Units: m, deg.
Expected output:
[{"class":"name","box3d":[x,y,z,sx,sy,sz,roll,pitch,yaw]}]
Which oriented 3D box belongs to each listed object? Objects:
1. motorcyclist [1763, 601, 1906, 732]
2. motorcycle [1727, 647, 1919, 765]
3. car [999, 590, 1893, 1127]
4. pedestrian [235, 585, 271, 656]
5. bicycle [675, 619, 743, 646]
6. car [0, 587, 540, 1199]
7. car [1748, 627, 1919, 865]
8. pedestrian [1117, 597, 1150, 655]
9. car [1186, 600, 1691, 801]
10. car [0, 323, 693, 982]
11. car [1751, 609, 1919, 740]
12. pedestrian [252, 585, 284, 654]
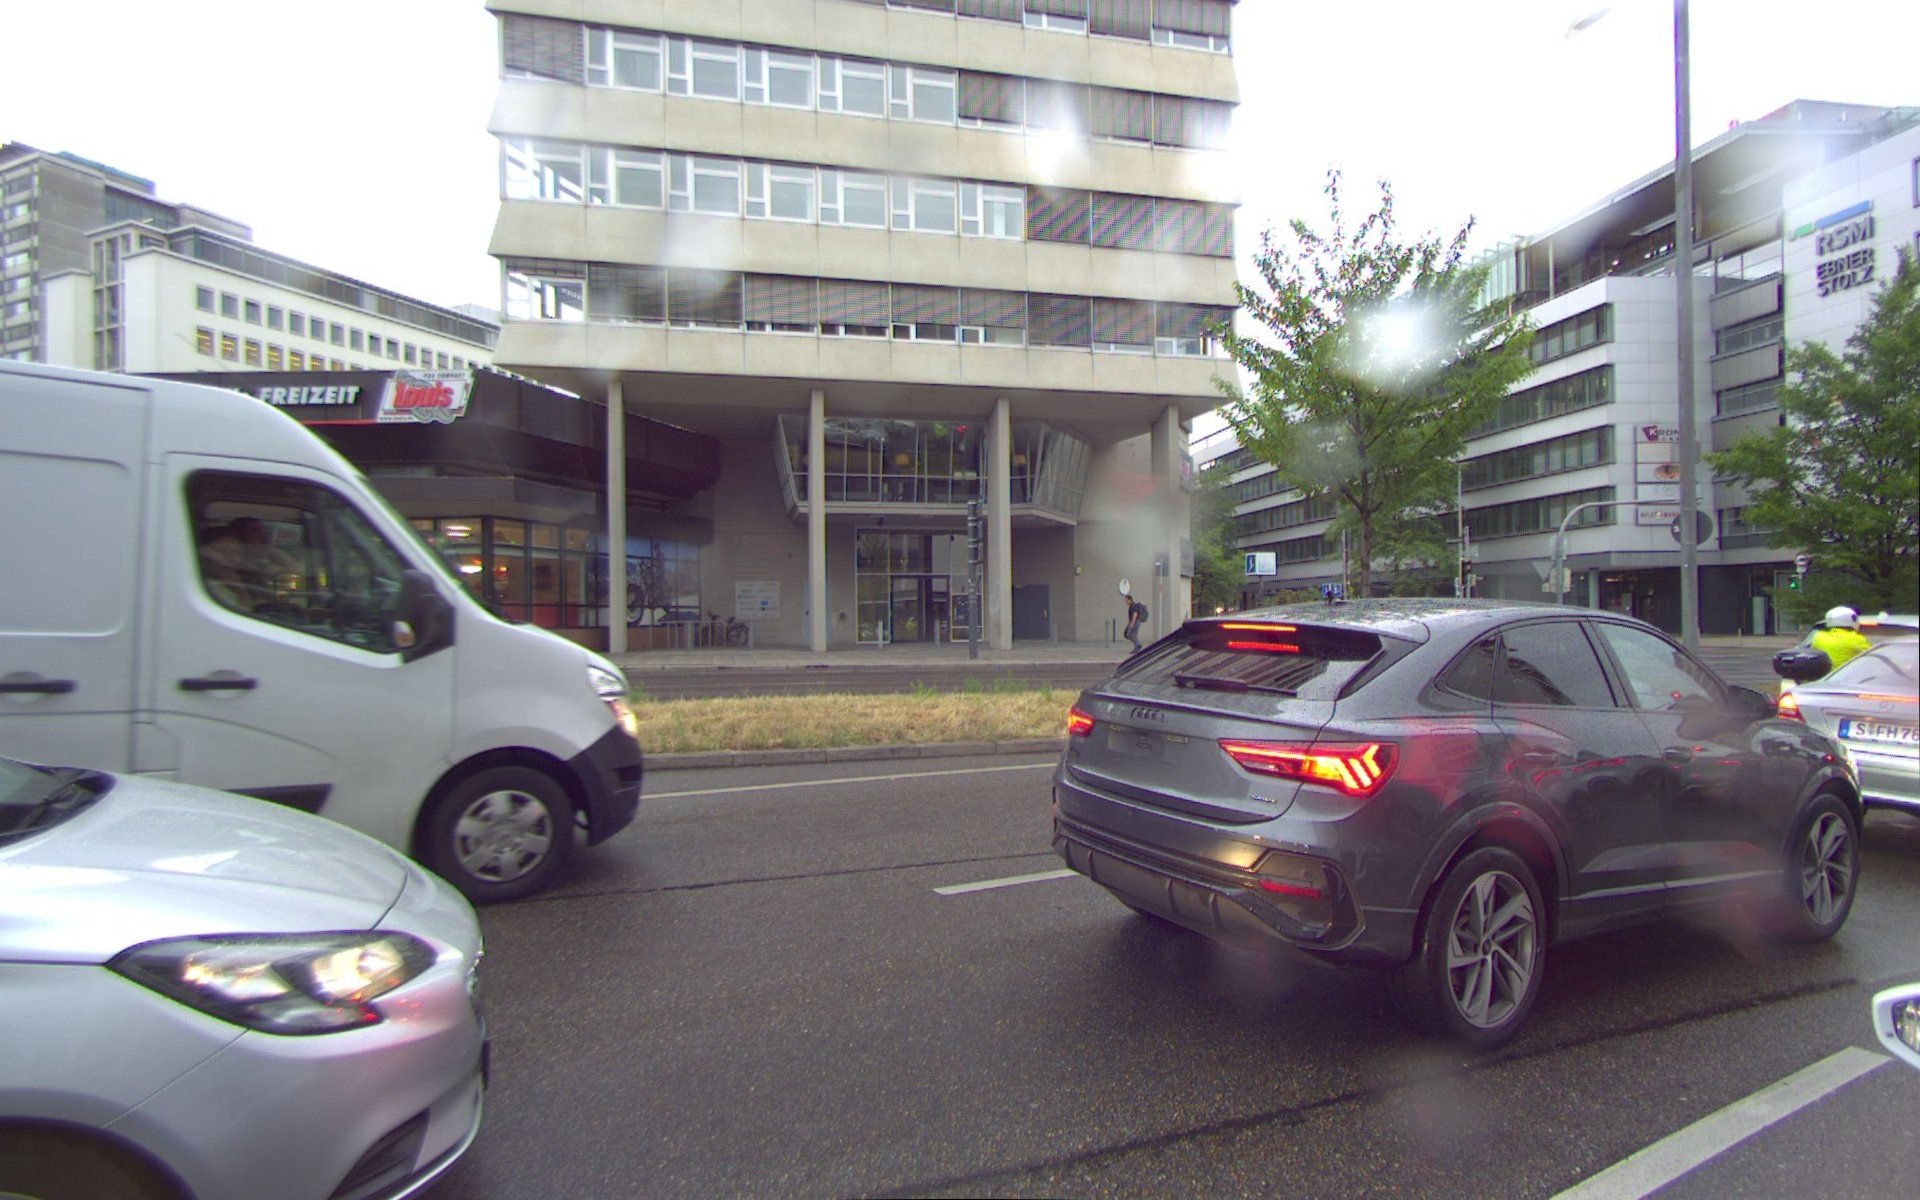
[{"class":"motorcyclist","box3d":[9.868,0.729,11.347,1.102,1.398,0.768,2,0,-21]},{"class":"motorcycle","box3d":[9.733,1.164,11.309,1.998,1.200,0.799,2,0,-21]},{"class":"car","box3d":[2.403,0.767,4.657,4.220,1.542,1.640,1,0,-30]},{"class":"pedestrian","box3d":[-17.594,0.498,24.996,0.488,1.741,0.525,1,0,3]},{"class":"bicycle","box3d":[-8.474,1.106,33.950,2.165,0.871,0.456,2,0,-31]},{"class":"car","box3d":[-2.888,0.687,1.692,3.831,1.455,1.639,1,0,-32]},{"class":"car","box3d":[7.670,0.961,7.095,4.052,1.426,1.567,2,0,-24]},{"class":"pedestrian","box3d":[5.233,0.778,30.246,0.751,1.706,0.677,1,0,-16]},{"class":"car","box3d":[4.666,0.821,9.697,4.713,1.554,1.859,1,0,-26]},{"class":"car","box3d":[-4.182,0.192,4.540,5.424,2.473,1.934,1,0,-35]},{"class":"car","box3d":[12.628,0.933,13.207,3.940,1.506,1.704,2,0,-20]},{"class":"pedestrian","box3d":[-17.804,0.494,25.831,0.436,1.741,0.509,1,0,3]}]
